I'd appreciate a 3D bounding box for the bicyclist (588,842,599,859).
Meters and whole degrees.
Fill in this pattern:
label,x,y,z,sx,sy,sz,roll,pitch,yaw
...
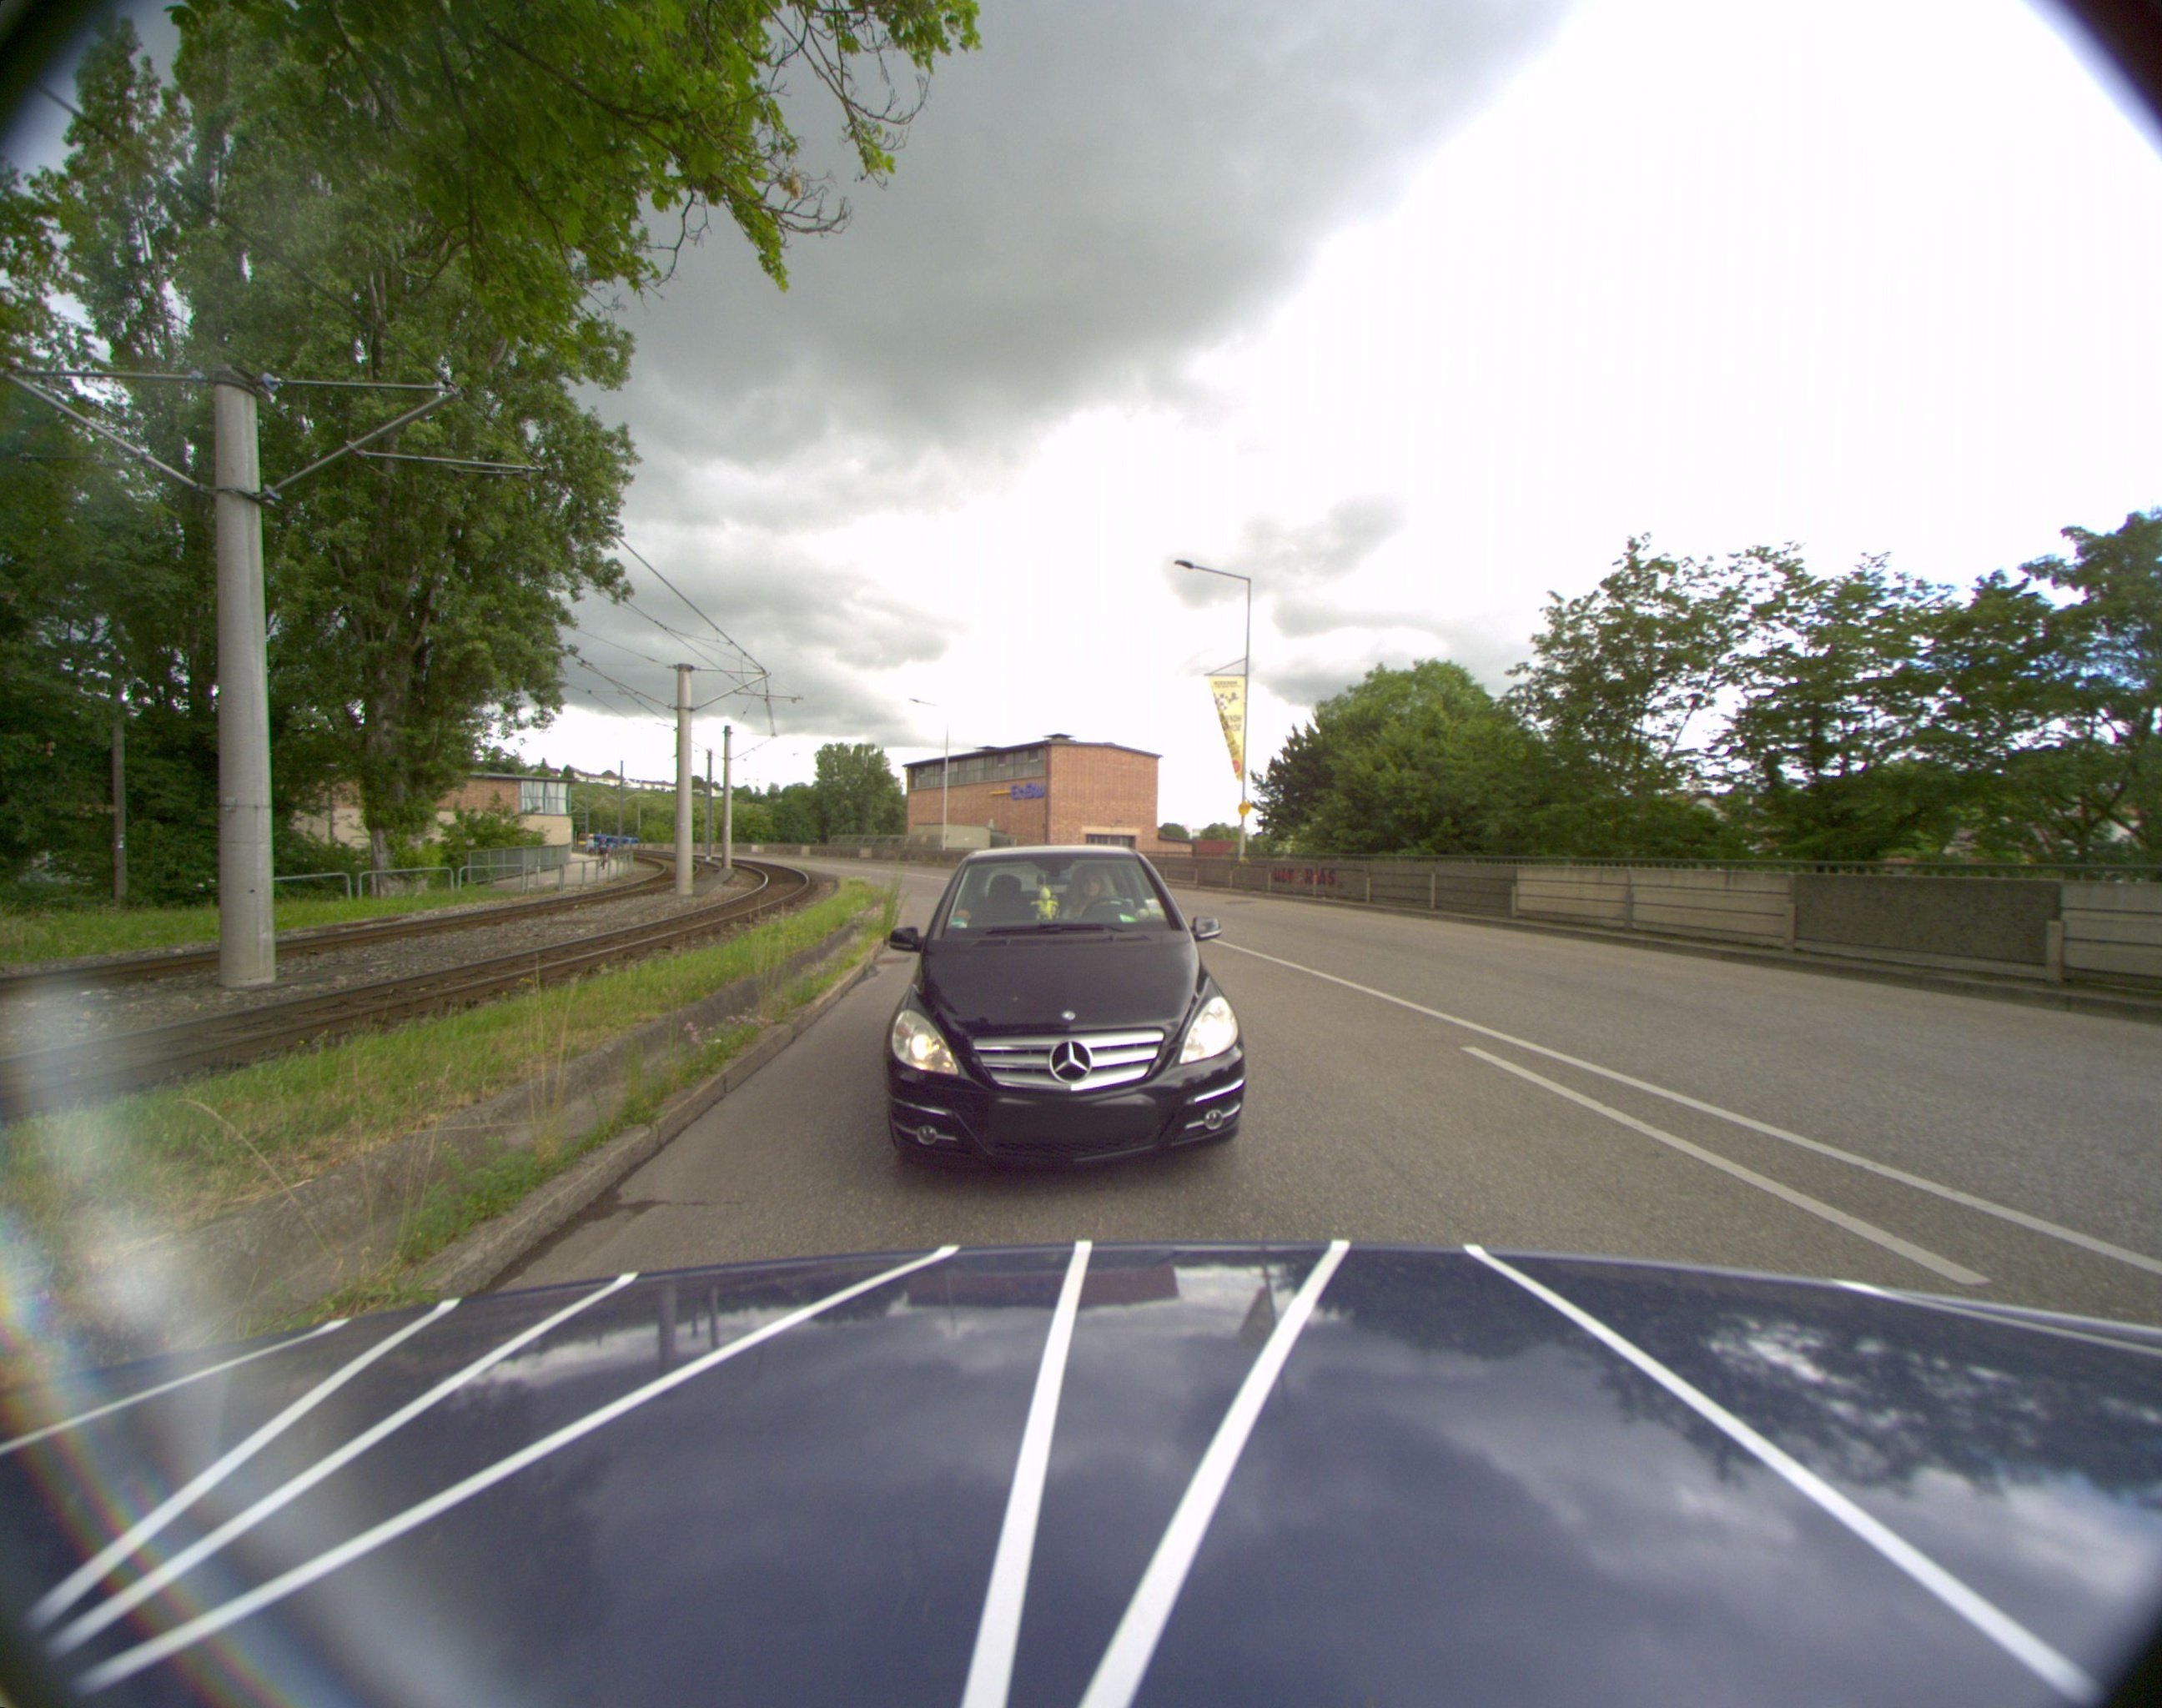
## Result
label,x,y,z,sx,sy,sz,roll,pitch,yaw
bicyclist,-39.505,-0.288,61.574,0.596,1.352,0.908,-2,2,-41

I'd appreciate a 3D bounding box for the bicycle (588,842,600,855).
label,x,y,z,sx,sy,sz,roll,pitch,yaw
bicycle,-39.482,-0.450,61.633,0.428,1.044,2.074,-2,2,-42

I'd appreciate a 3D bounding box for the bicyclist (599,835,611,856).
label,x,y,z,sx,sy,sz,roll,pitch,yaw
bicyclist,-24.190,-0.422,38.611,0.418,1.077,0.473,0,1,-19

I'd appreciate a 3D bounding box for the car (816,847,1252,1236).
label,x,y,z,sx,sy,sz,roll,pitch,yaw
car,-0.236,0.801,5.274,1.861,1.612,3.998,0,2,-1

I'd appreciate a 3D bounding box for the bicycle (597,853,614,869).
label,x,y,z,sx,sy,sz,roll,pitch,yaw
bicycle,-24.192,0.338,38.648,0.348,0.790,1.545,0,1,-18
